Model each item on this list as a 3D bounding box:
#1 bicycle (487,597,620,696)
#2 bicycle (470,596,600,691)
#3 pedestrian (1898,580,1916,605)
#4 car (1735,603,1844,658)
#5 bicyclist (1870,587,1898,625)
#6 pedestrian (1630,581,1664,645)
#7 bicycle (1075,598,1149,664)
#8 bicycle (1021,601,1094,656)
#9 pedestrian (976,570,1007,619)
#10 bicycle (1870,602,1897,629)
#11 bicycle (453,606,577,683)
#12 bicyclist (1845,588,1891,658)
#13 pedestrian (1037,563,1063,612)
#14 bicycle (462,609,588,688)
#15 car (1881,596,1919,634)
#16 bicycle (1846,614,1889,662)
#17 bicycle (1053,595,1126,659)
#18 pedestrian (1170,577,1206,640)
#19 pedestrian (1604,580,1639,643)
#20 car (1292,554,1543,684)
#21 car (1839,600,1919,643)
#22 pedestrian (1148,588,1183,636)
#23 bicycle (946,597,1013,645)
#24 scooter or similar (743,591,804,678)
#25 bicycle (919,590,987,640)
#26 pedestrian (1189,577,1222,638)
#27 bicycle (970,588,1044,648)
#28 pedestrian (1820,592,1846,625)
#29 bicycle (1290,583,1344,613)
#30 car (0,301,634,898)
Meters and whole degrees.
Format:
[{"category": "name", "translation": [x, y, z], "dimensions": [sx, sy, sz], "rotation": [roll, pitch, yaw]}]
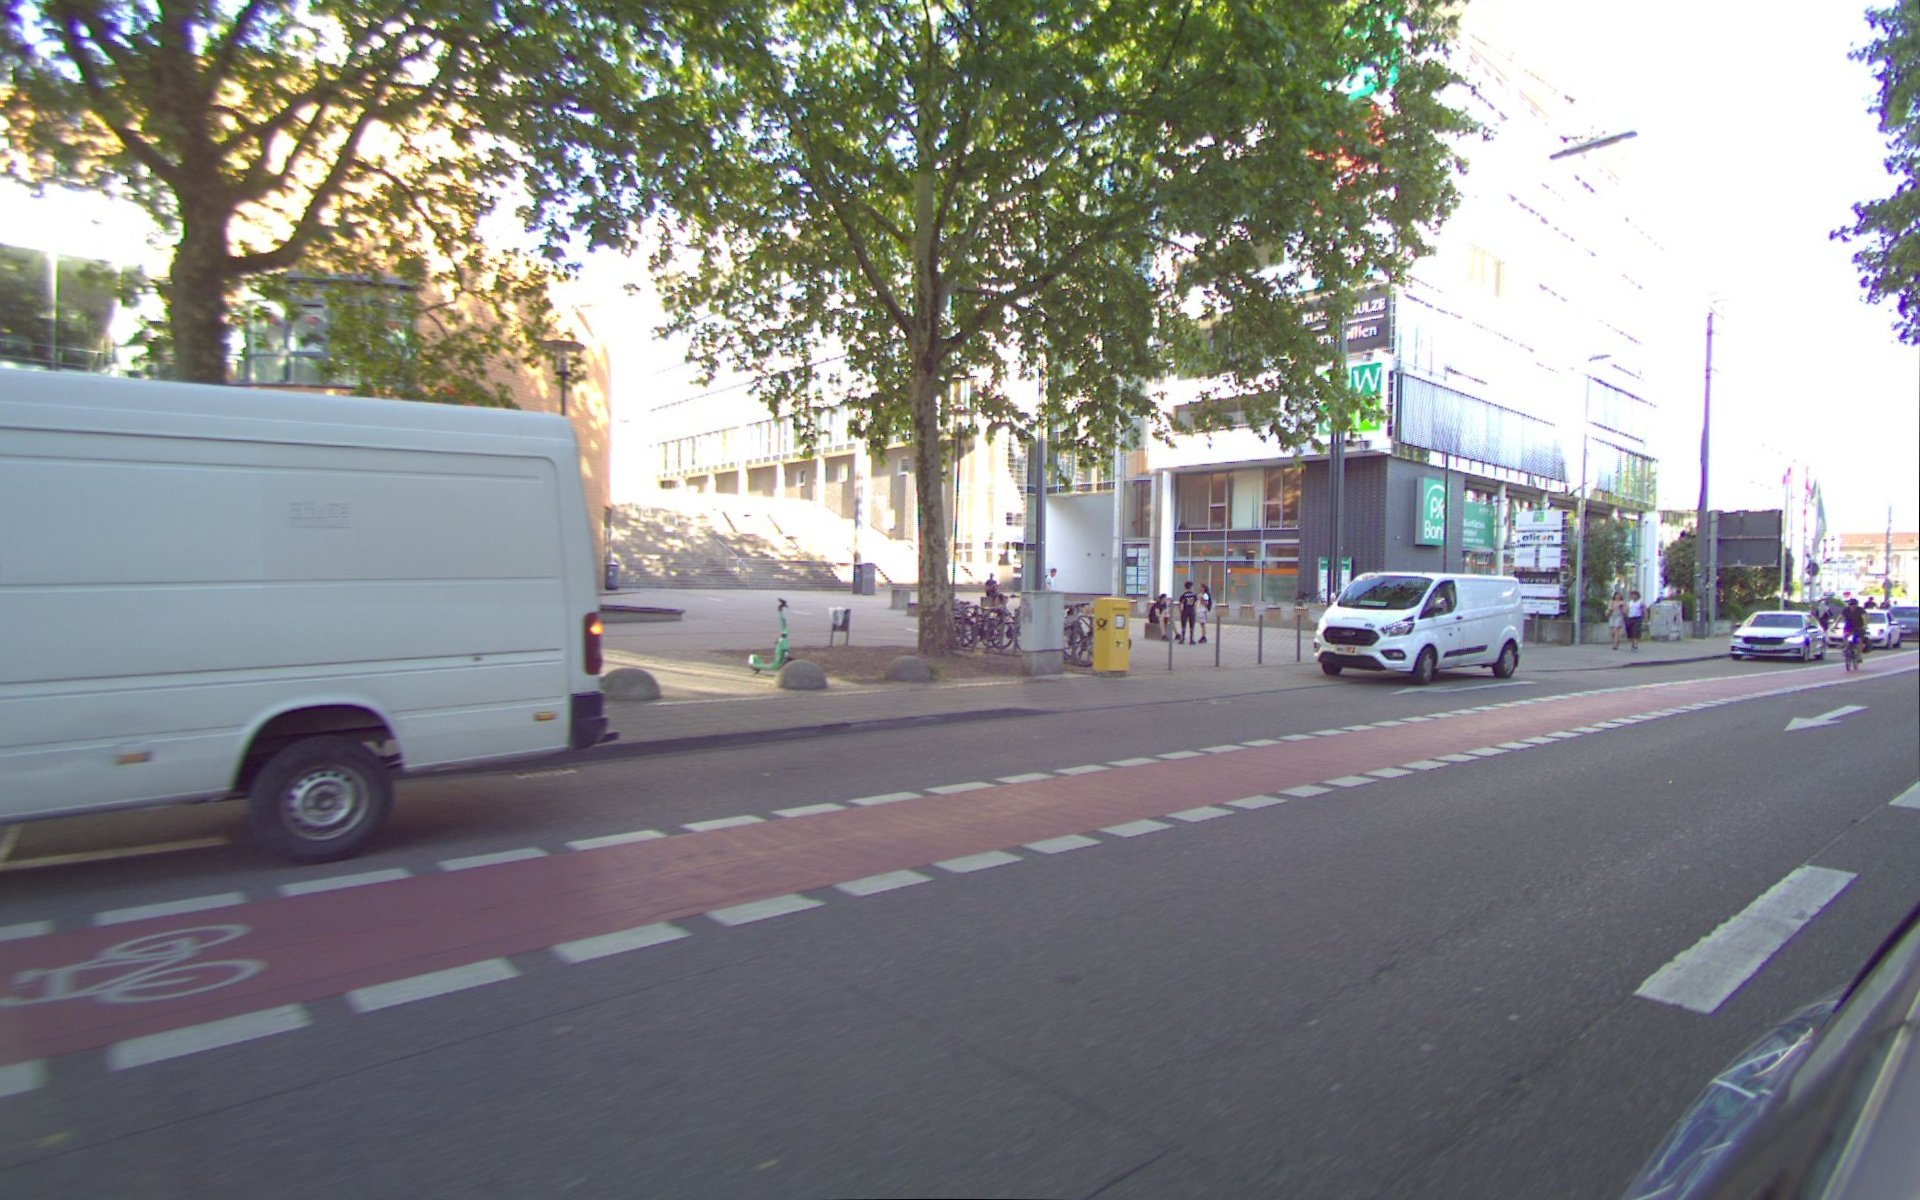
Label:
[{"category": "bicycle", "translation": [-4.948, 0.538, 12.387], "dimensions": [1.453, 1.133, 0.407], "rotation": [0, 1, -43]}, {"category": "bicycle", "translation": [-5.356, 0.525, 12.810], "dimensions": [1.453, 1.133, 0.407], "rotation": [0, 1, -43]}, {"category": "pedestrian", "translation": [62.111, -0.514, 66.390], "dimensions": [0.652, 1.601, 0.693], "rotation": [1, 3, -39]}, {"category": "car", "translation": [24.380, 0.828, 29.719], "dimensions": [3.951, 1.437, 1.785], "rotation": [0, 2, -41]}, {"category": "bicyclist", "translation": [45.917, 0.292, 50.299], "dimensions": [1.188, 1.783, 0.744], "rotation": [0, 4, -40]}, {"category": "pedestrian", "translation": [20.182, 0.370, 29.720], "dimensions": [0.875, 1.831, 0.564], "rotation": [0, 2, -40]}, {"category": "bicycle", "translation": [2.859, 0.562, 18.952], "dimensions": [1.512, 1.173, 0.513], "rotation": [0, 1, -41]}, {"category": "bicycle", "translation": [1.940, 0.548, 20.078], "dimensions": [1.599, 1.042, 0.459], "rotation": [0, 1, -41]}, {"category": "pedestrian", "translation": [0.973, -0.176, 30.907], "dimensions": [0.590, 1.474, 0.712], "rotation": [1, 1, -40]}, {"category": "bicycle", "translation": [45.929, 0.767, 50.339], "dimensions": [1.893, 1.291, 0.665], "rotation": [0, 4, -40]}, {"category": "bicycle", "translation": [-5.929, 0.573, 13.537], "dimensions": [1.453, 0.958, 0.407], "rotation": [0, 2, -43]}, {"category": "bicyclist", "translation": [22.801, 0.555, 25.411], "dimensions": [0.702, 1.709, 0.751], "rotation": [1, 1, -42]}, {"category": "pedestrian", "translation": [3.171, -0.454, 35.815], "dimensions": [0.710, 1.697, 0.539], "rotation": [1, 1, -40]}, {"category": "bicycle", "translation": [-5.643, 0.604, 13.185], "dimensions": [1.453, 0.958, 0.407], "rotation": [0, 2, -43]}, {"category": "car", "translation": [43.215, 0.661, 45.654], "dimensions": [3.929, 1.616, 1.998], "rotation": [0, 1, -40]}, {"category": "bicycle", "translation": [22.789, 0.934, 25.402], "dimensions": [2.090, 1.135, 0.550], "rotation": [0, 2, -41]}, {"category": "bicycle", "translation": [2.506, 0.502, 19.477], "dimensions": [1.512, 1.173, 0.513], "rotation": [0, 1, -41]}, {"category": "pedestrian", "translation": [5.796, 0.198, 25.705], "dimensions": [0.625, 1.562, 0.578], "rotation": [1, 1, -33]}, {"category": "pedestrian", "translation": [19.739, 0.330, 30.205], "dimensions": [0.880, 1.831, 0.591], "rotation": [0, 2, -40]}, {"category": "car", "translation": [8.795, 0.279, 19.253], "dimensions": [5.192, 2.160, 2.129], "rotation": [0, 2, -38]}, {"category": "car", "translation": [34.615, 0.772, 37.972], "dimensions": [3.797, 1.482, 1.672], "rotation": [0, 2, -37]}, {"category": "pedestrian", "translation": [5.514, 0.319, 27.138], "dimensions": [0.665, 1.236, 0.615], "rotation": [1, 1, -36]}, {"category": "bicycle", "translation": [0.428, 0.441, 21.552], "dimensions": [1.484, 0.971, 0.459], "rotation": [0, 2, -41]}, {"category": "scooter or similar", "translation": [-2.836, 0.499, 15.344], "dimensions": [0.403, 1.239, 1.211], "rotation": [1, 1, -37]}, {"category": "bicycle", "translation": [-0.152, 0.343, 22.911], "dimensions": [1.480, 1.091, 0.461], "rotation": [1, 1, -32]}, {"category": "pedestrian", "translation": [6.366, 0.192, 26.219], "dimensions": [0.623, 1.541, 0.517], "rotation": [1, 1, -33]}, {"category": "bicycle", "translation": [0.991, 0.354, 21.054], "dimensions": [1.689, 1.193, 0.459], "rotation": [0, 2, -41]}, {"category": "pedestrian", "translation": [42.702, 0.416, 49.504], "dimensions": [0.895, 1.594, 0.753], "rotation": [0, 1, -37]}, {"category": "bicycle", "translation": [13.927, -0.078, 39.488], "dimensions": [0.688, 1.076, 1.878], "rotation": [0, 2, -41]}, {"category": "car", "translation": [-5.235, -0.007, 5.304], "dimensions": [6.442, 2.759, 1.998], "rotation": [0, 0, -39]}]
